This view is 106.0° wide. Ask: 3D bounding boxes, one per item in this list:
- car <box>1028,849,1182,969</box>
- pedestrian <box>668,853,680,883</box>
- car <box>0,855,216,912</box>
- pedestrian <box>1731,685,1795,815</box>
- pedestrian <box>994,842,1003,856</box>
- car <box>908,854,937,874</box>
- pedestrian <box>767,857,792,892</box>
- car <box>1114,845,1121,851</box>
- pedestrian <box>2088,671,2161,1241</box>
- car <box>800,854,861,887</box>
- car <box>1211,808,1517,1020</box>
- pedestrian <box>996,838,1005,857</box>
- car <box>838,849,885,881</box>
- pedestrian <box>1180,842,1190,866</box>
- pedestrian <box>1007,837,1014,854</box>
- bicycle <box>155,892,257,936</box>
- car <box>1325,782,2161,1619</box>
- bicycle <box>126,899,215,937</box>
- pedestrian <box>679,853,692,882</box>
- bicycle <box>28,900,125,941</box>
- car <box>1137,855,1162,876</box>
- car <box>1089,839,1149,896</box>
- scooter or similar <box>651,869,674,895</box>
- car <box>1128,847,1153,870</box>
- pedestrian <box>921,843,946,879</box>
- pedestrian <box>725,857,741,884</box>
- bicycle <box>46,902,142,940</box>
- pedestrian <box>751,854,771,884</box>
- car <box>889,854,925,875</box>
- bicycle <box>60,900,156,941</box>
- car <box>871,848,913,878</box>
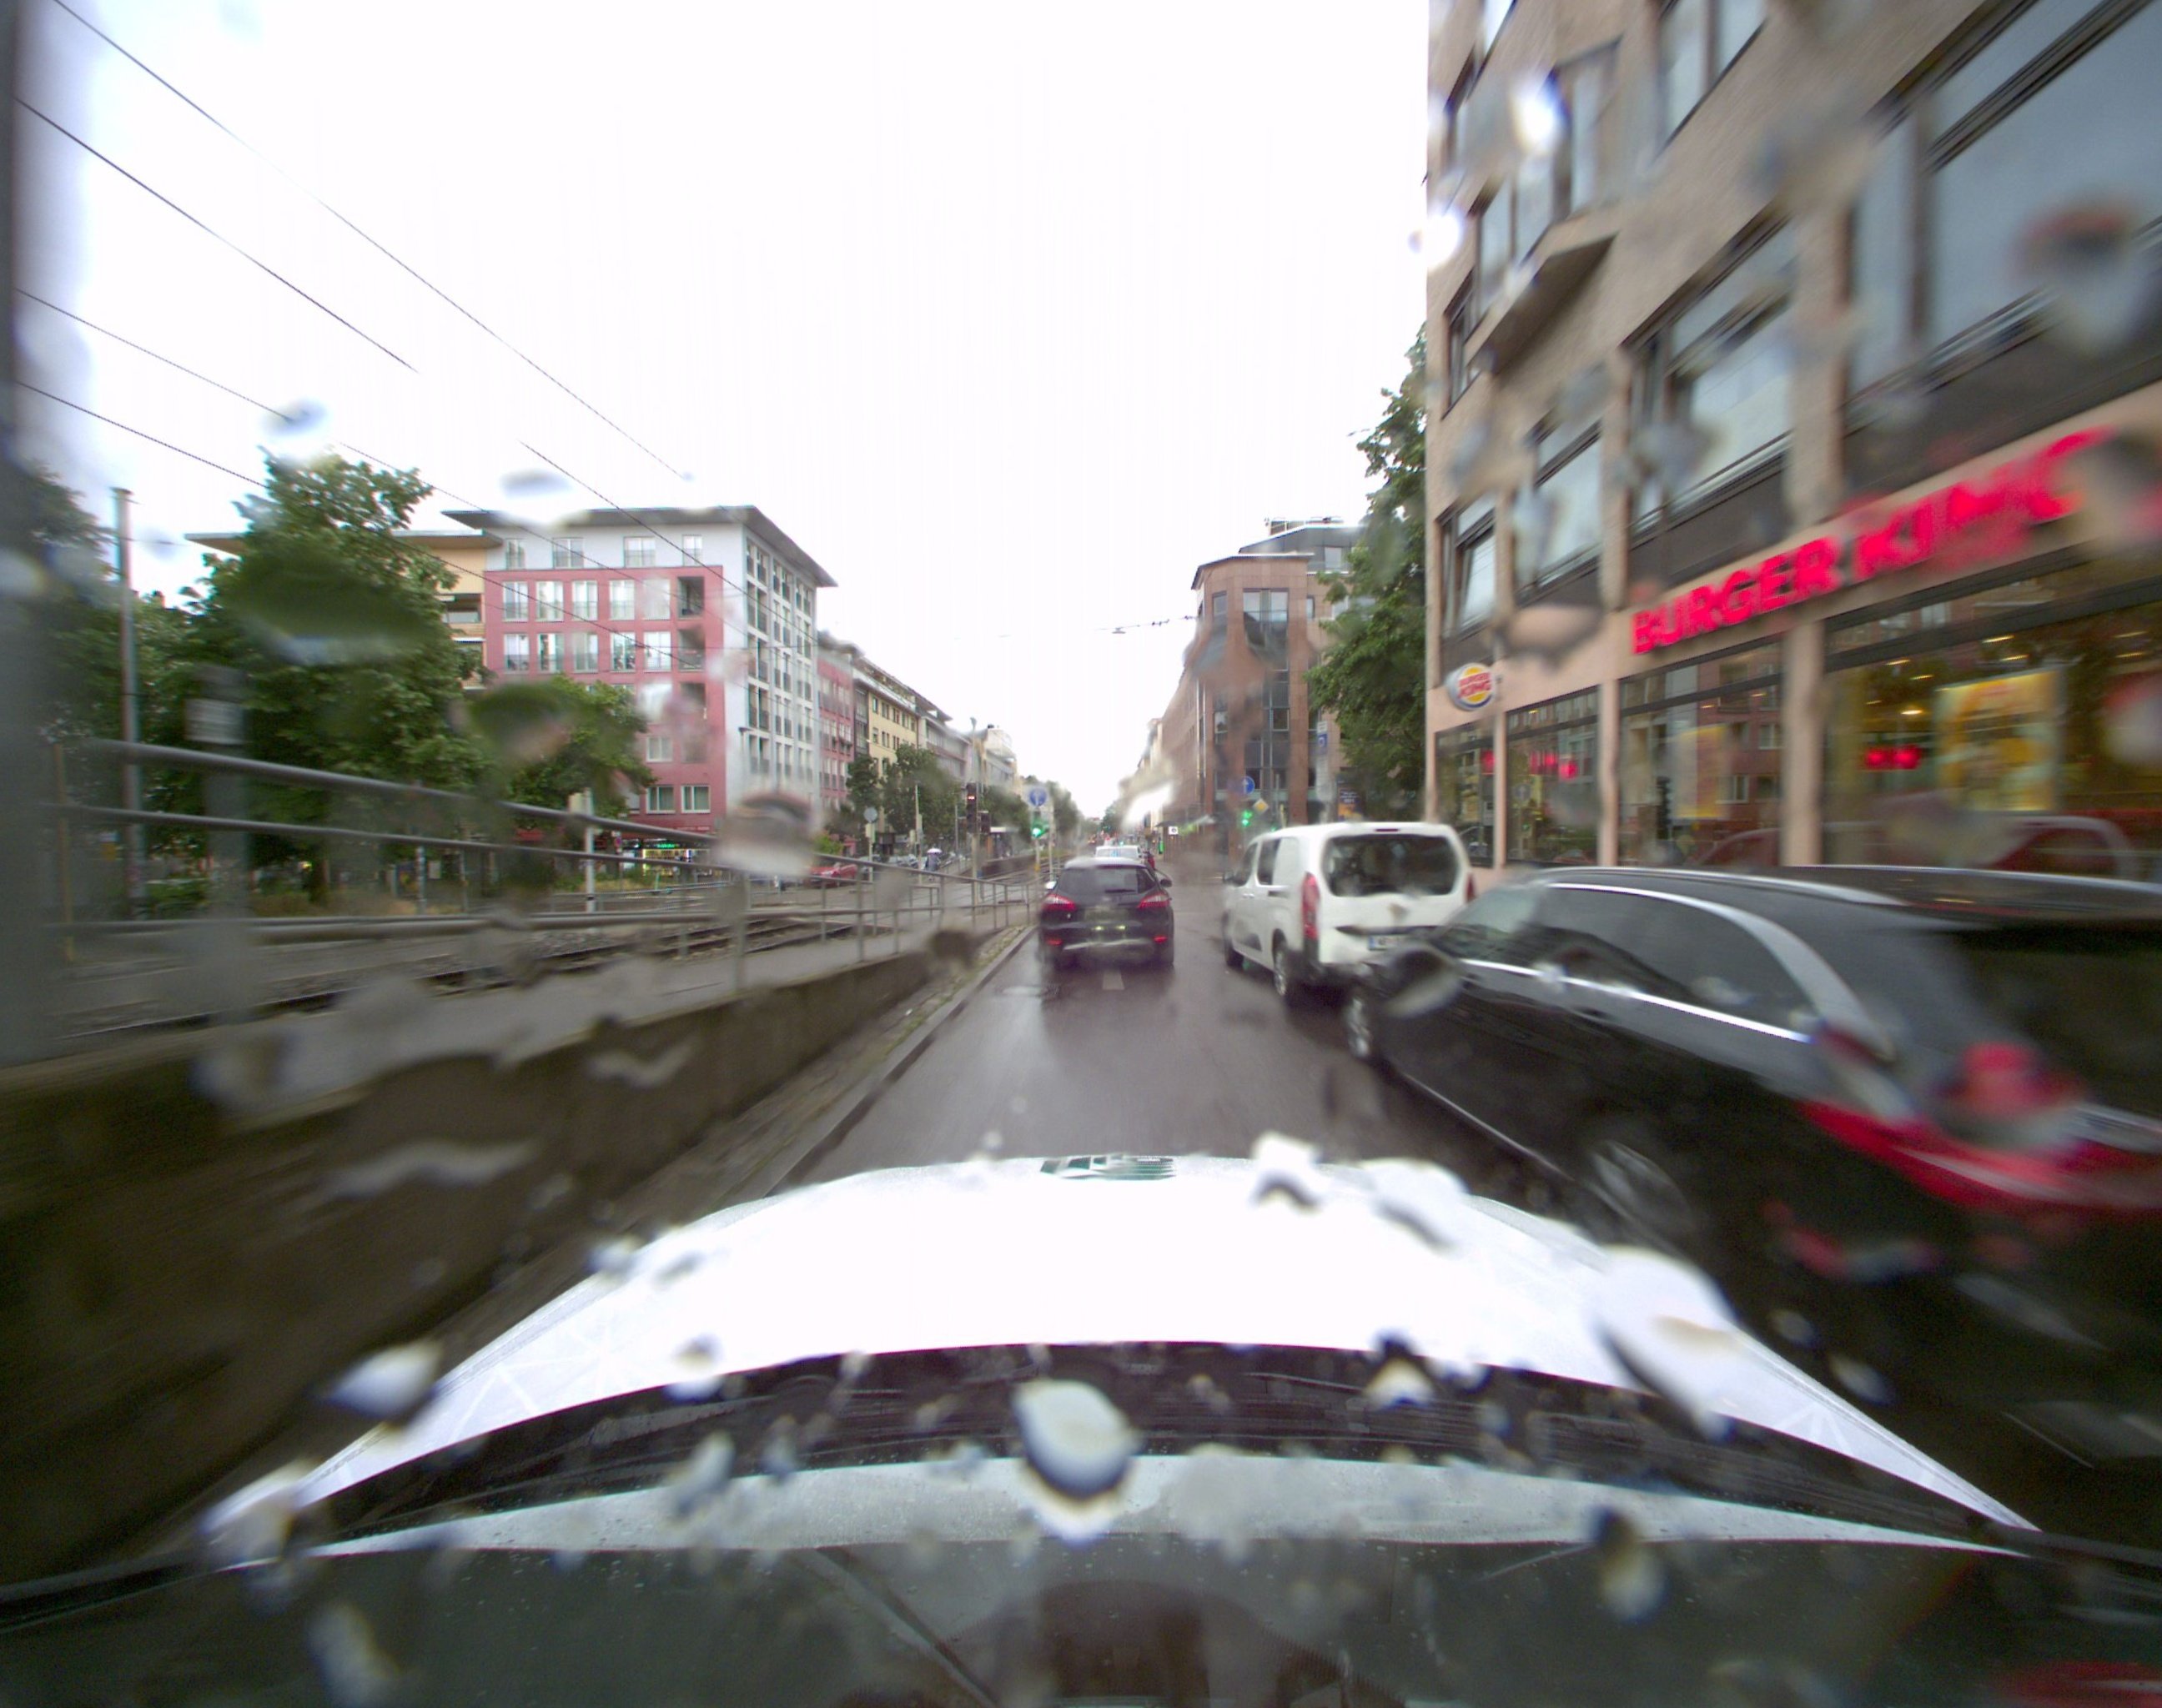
[{"bbox_3d":[0.375,0.692,11.919,1.899,1.462,3.447,-1,0,2],"label":"car"},{"bbox_3d":[-22.840,0.778,45.673,0.581,1.631,0.606,0,0,-24],"label":"pedestrian"},{"bbox_3d":[-49.337,1.378,41.561,2.404,2.534,7.107,-2,0,4],"label":"car"},{"bbox_3d":[10.186,-1.515,12.164,0.659,1.820,0.600,-2,-1,42],"label":"pedestrian"},{"bbox_3d":[-7.619,-0.434,75.009,0.690,1.249,0.884,-2,0,0],"label":"pedestrian"},{"bbox_3d":[-12.782,0.773,65.905,1.563,1.436,3.977,-2,0,-1],"label":"car"},{"bbox_3d":[-14.967,1.010,40.401,0.871,1.631,0.812,1,3,39],"label":"pedestrian"},{"bbox_3d":[10.256,-1.625,229.462,1.899,1.633,4.577,-1,0,3],"label":"car"},{"bbox_3d":[4.002,0.345,2.674,0.648,1.948,0.534,-2,0,3],"label":"pedestrian"},{"bbox_3d":[-13.873,0.887,45.370,1.719,1.611,4.557,-2,1,3],"label":"car"},{"bbox_3d":[2.856,0.523,9.516,1.900,1.806,4.777,-1,0,0],"label":"car"},{"bbox_3d":[-7.195,-0.602,72.780,0.653,1.711,0.850,-2,0,0],"label":"pedestrian"},{"bbox_3d":[-13.687,0.667,50.970,1.702,1.858,4.320,-2,0,0],"label":"car"},{"bbox_3d":[7.259,-0.023,56.964,0.599,1.659,0.626,-2,0,2],"label":"pedestrian"},{"bbox_3d":[-7.444,-0.921,86.234,0.653,1.801,0.850,-2,0,0],"label":"pedestrian"},{"bbox_3d":[-22.045,1.480,20.579,0.478,0.959,1.874,-2,0,2],"label":"bicycle"},{"bbox_3d":[2.673,0.656,3.770,1.899,1.615,4.416,-1,0,2],"label":"car"},{"bbox_3d":[-23.021,1.604,20.631,0.338,0.816,1.647,-2,0,2],"label":"bicycle"},{"bbox_3d":[-22.161,0.734,45.644,0.547,1.631,0.568,0,0,-34],"label":"pedestrian"},{"bbox_3d":[-25.727,1.696,20.896,0.337,0.903,1.649,-2,0,5],"label":"bicycle"},{"bbox_3d":[5.260,0.835,62.767,1.692,1.462,3.869,-4,0,2],"label":"car"},{"bbox_3d":[1.468,0.456,29.673,1.897,1.864,4.581,-1,0,6],"label":"car"},{"bbox_3d":[-20.360,1.359,39.651,0.387,1.191,1.213,-2,0,3],"label":"scooter or similar"},{"bbox_3d":[4.232,0.304,58.369,1.691,1.479,3.871,-4,0,3],"label":"car"},{"bbox_3d":[-8.513,0.375,47.035,1.112,2.013,1.384,-2,0,2],"label":"pedestrian"},{"bbox_3d":[-19.273,0.895,45.124,0.637,1.461,0.656,0,0,0],"label":"pedestrian"},{"bbox_3d":[-25.133,1.689,20.772,0.336,0.843,1.649,-2,0,5],"label":"bicycle"},{"bbox_3d":[-18.077,0.839,45.980,0.818,1.697,0.984,0,0,-6],"label":"pedestrian"},{"bbox_3d":[-13.093,0.799,61.393,1.835,1.436,4.317,-2,0,-1],"label":"car"},{"bbox_3d":[-24.713,1.672,20.721,0.337,0.910,1.649,-2,0,5],"label":"bicycle"},{"bbox_3d":[-12.864,0.574,55.669,1.797,1.858,4.379,-2,0,0],"label":"car"}]
